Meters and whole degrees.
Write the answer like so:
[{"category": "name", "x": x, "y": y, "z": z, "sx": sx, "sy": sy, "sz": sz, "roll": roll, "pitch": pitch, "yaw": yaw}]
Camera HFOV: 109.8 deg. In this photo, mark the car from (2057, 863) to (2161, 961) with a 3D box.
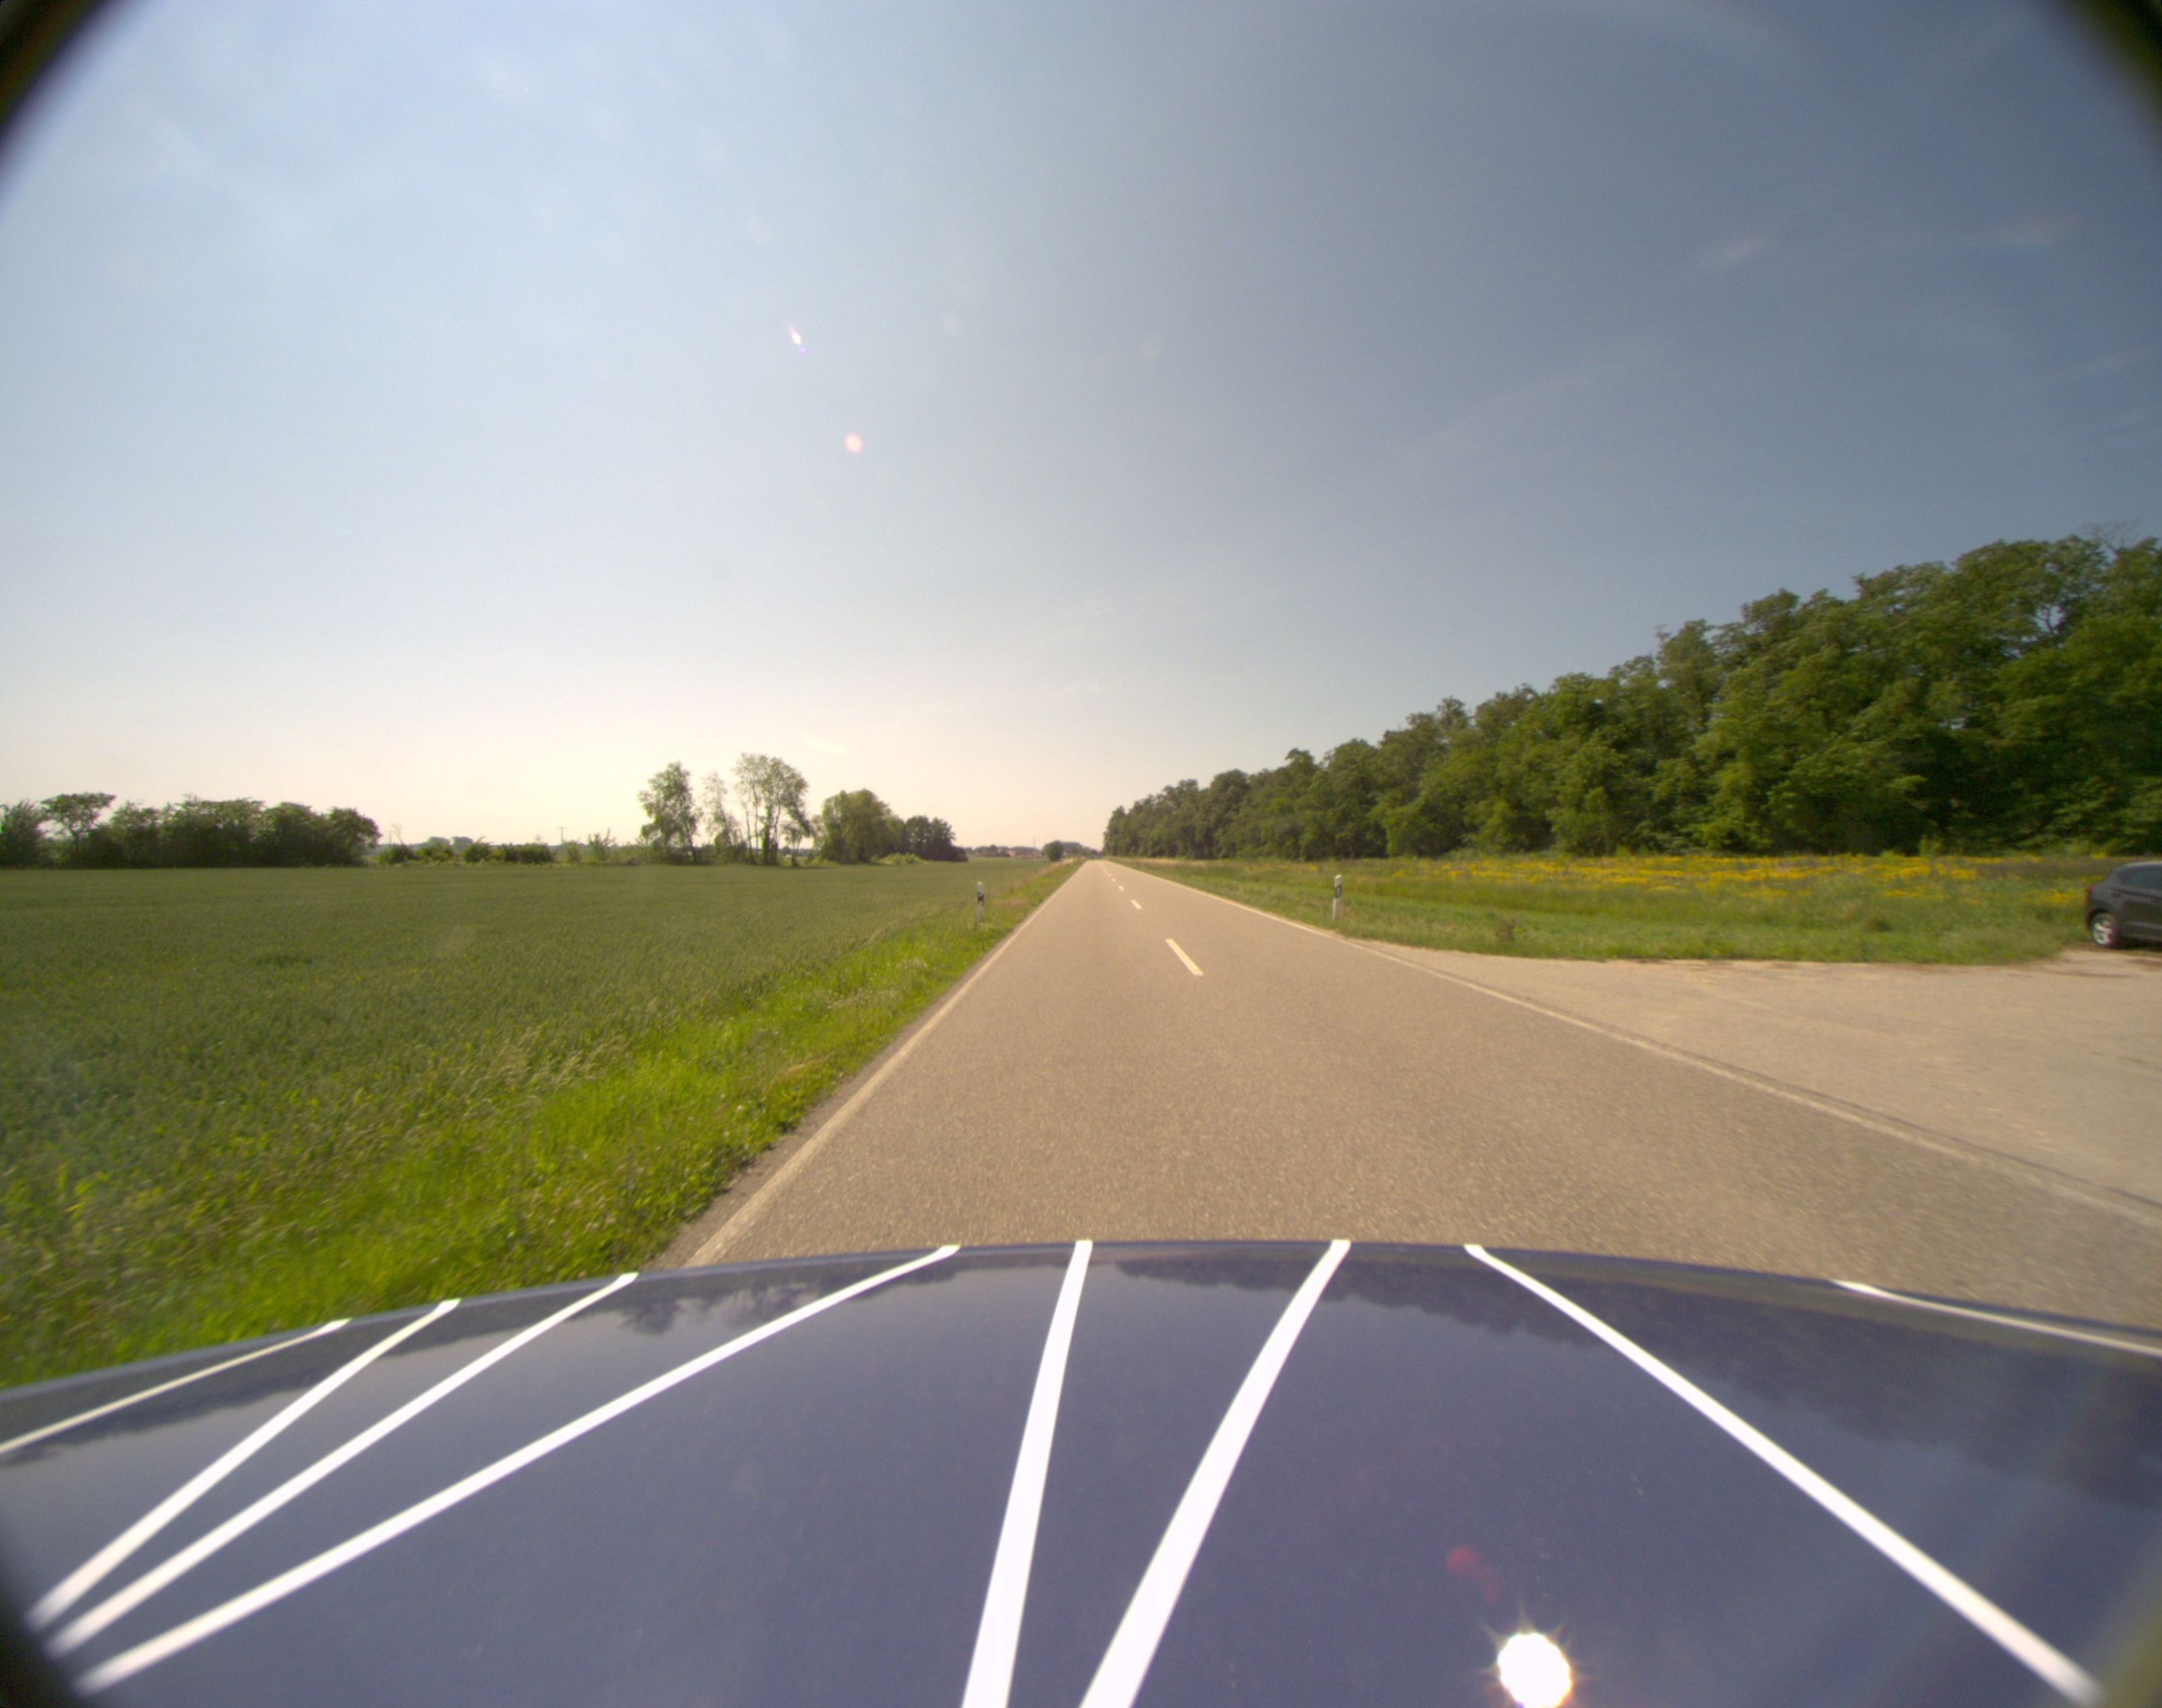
[{"category": "car", "x": 19.355, "y": 1.006, "z": 12.834, "sx": 1.754, "sy": 1.641, "sz": 4.538, "roll": 0, "pitch": 0, "yaw": 27}]
